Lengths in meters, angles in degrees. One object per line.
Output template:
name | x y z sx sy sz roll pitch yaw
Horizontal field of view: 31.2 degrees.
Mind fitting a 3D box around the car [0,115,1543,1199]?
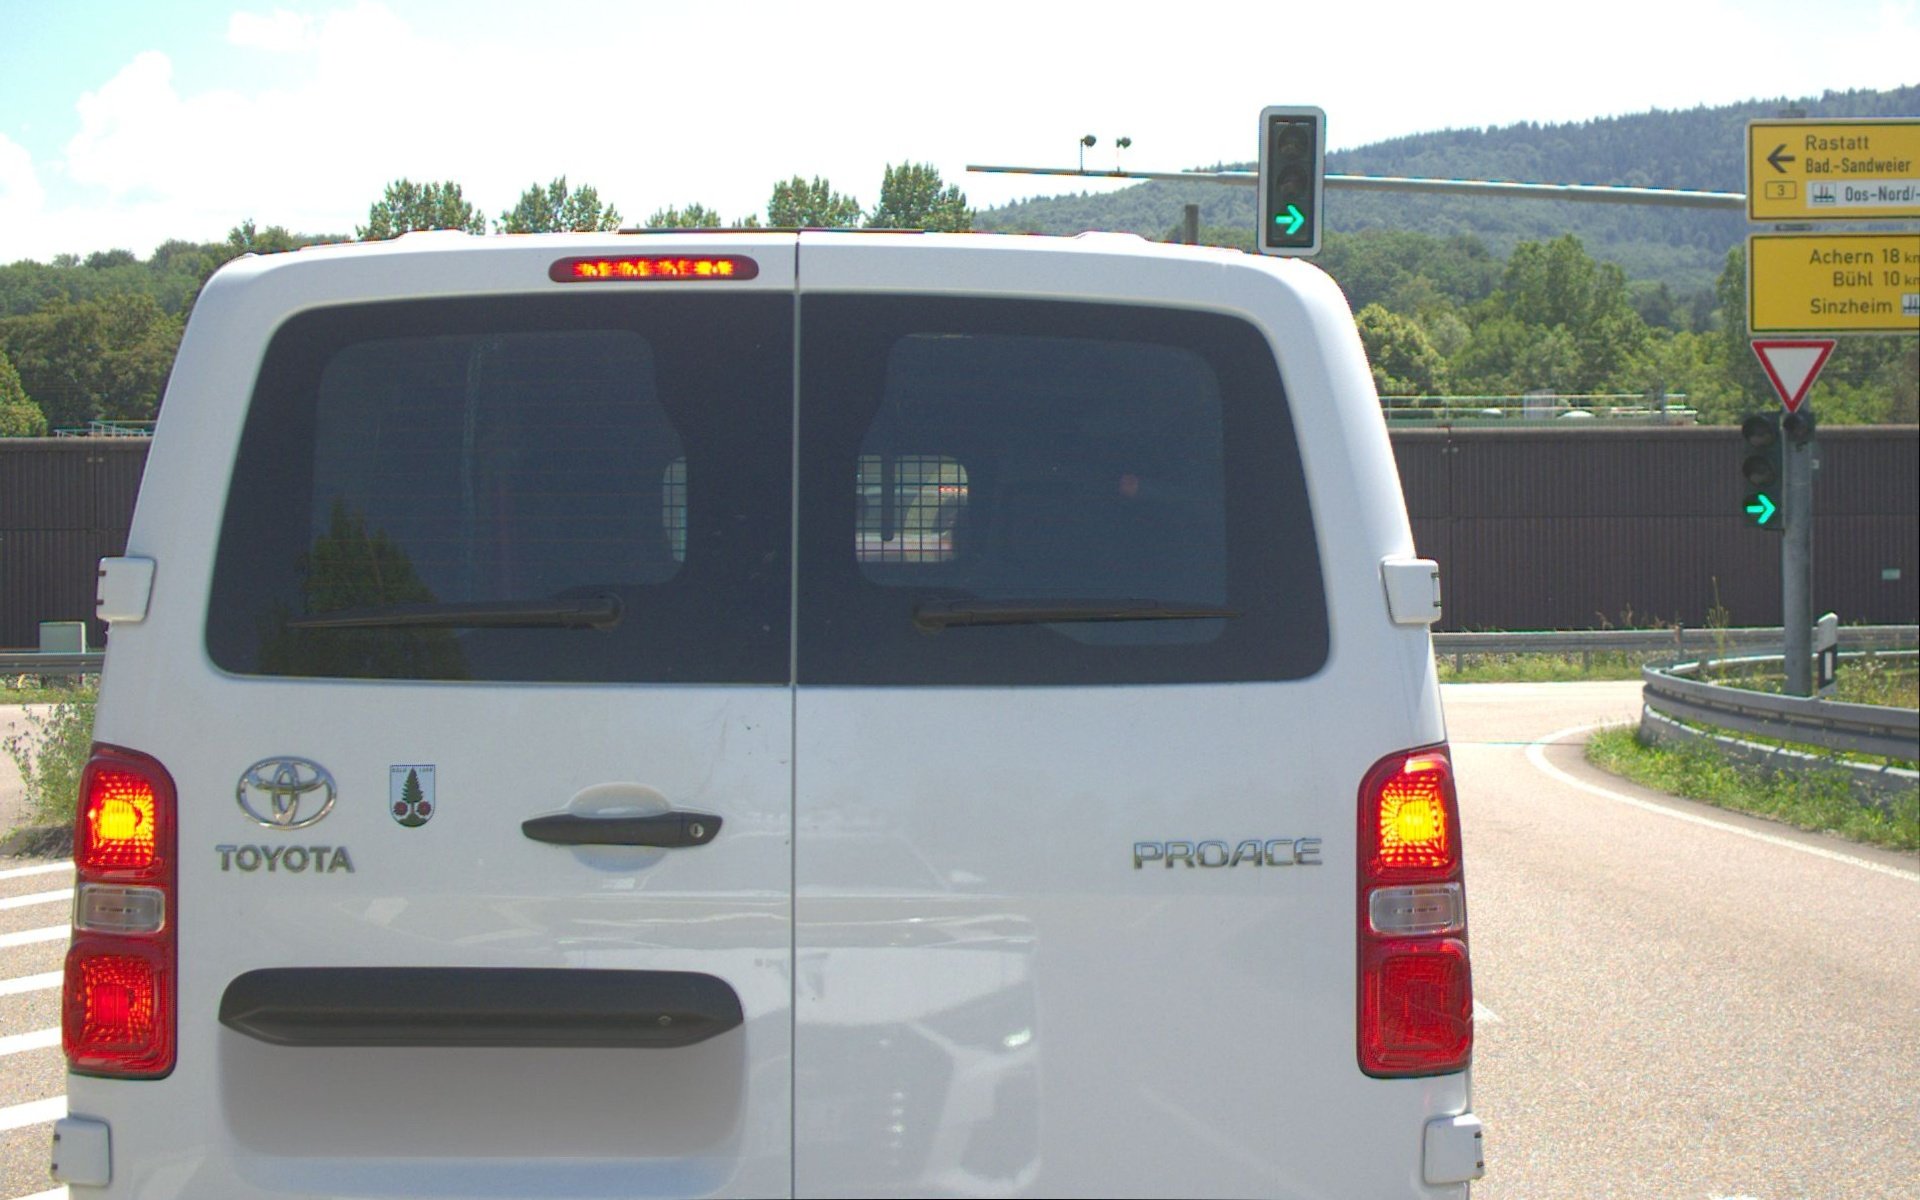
car | -0.264 0.432 5.950 1.814 2.011 4.000 0 1 -1
